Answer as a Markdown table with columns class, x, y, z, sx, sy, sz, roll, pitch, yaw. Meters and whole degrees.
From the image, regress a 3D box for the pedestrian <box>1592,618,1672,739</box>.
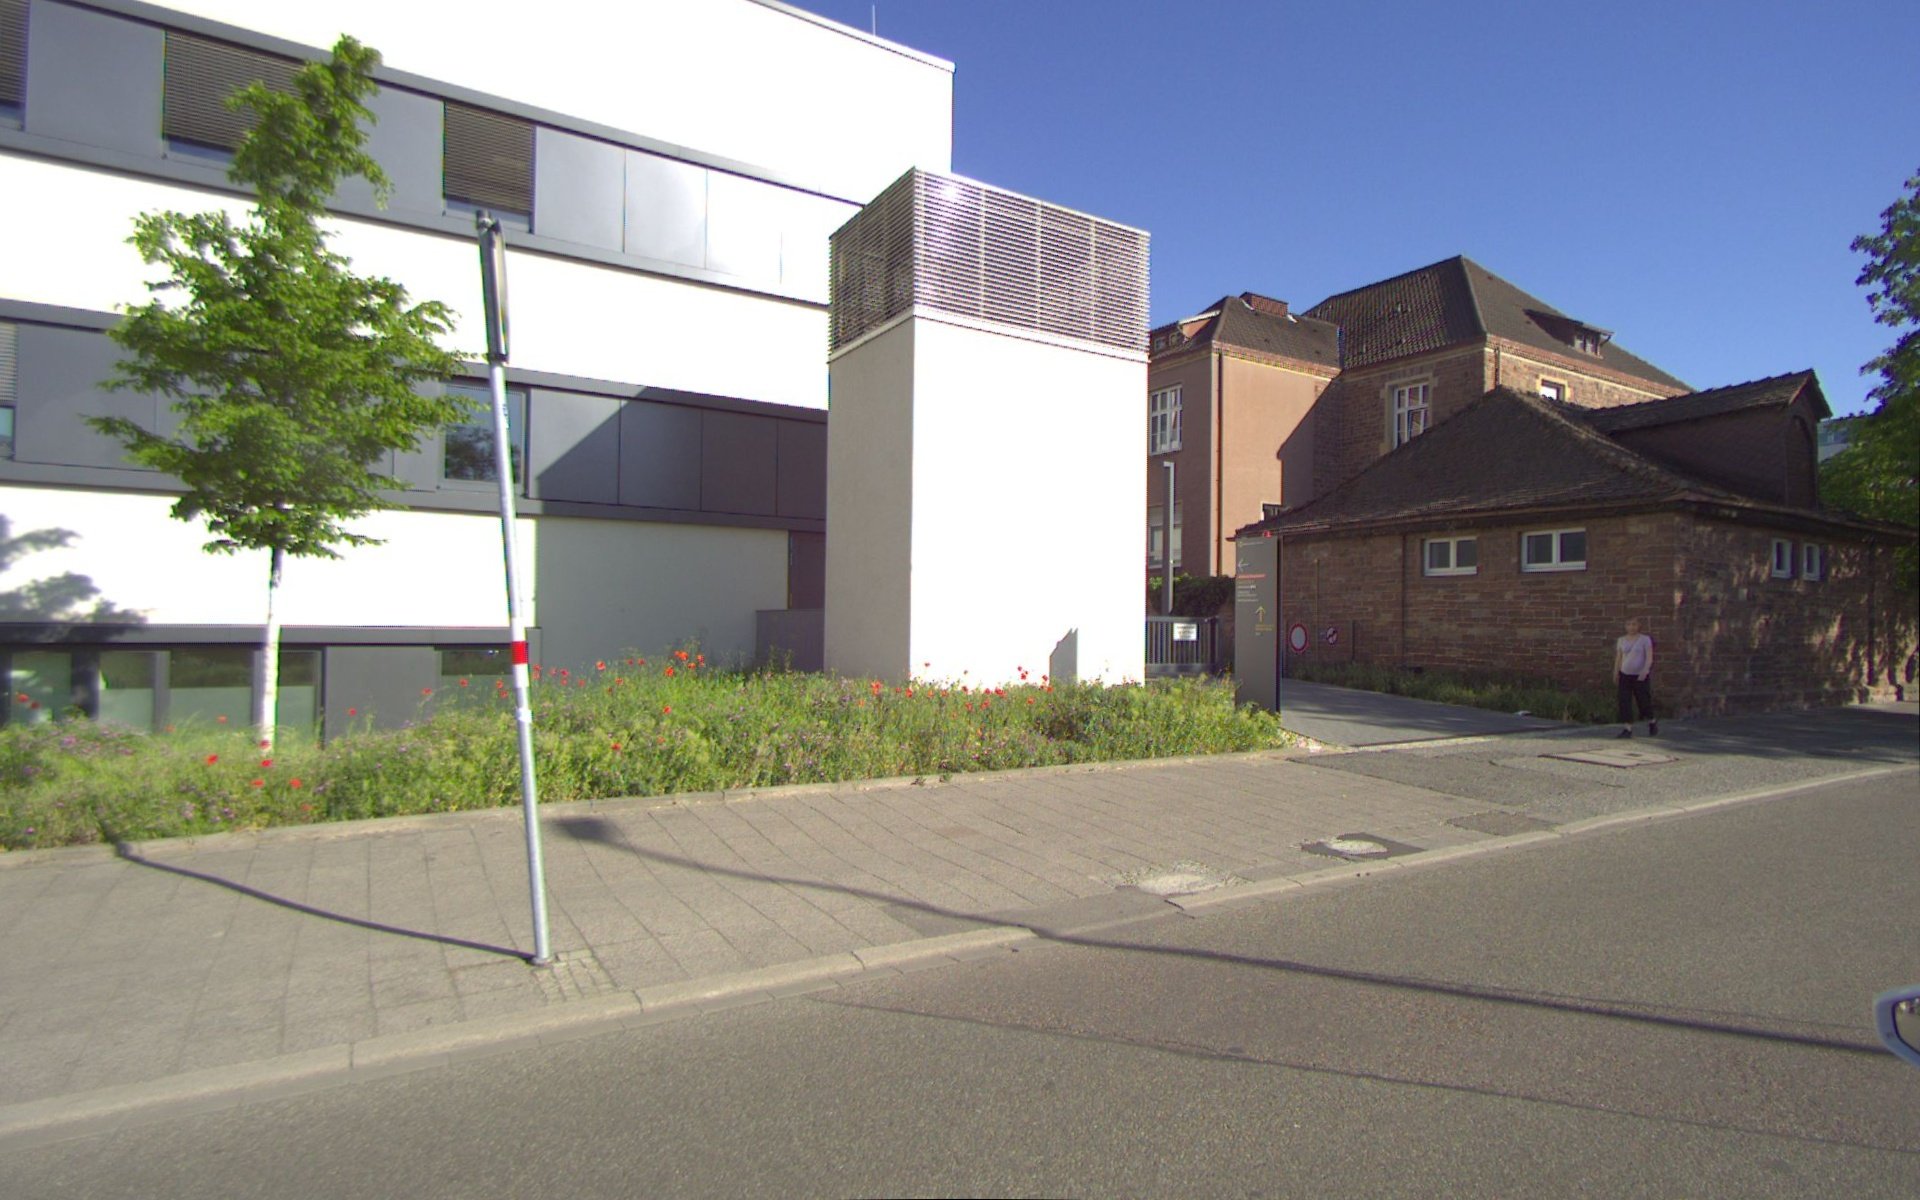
| class | x | y | z | sx | sy | sz | roll | pitch | yaw |
| --- | --- | --- | --- | --- | --- | --- | --- | --- | --- |
| pedestrian | 9.191 | 1.047 | 13.725 | 1.084 | 1.583 | 0.518 | 1 | -1 | -32 |
